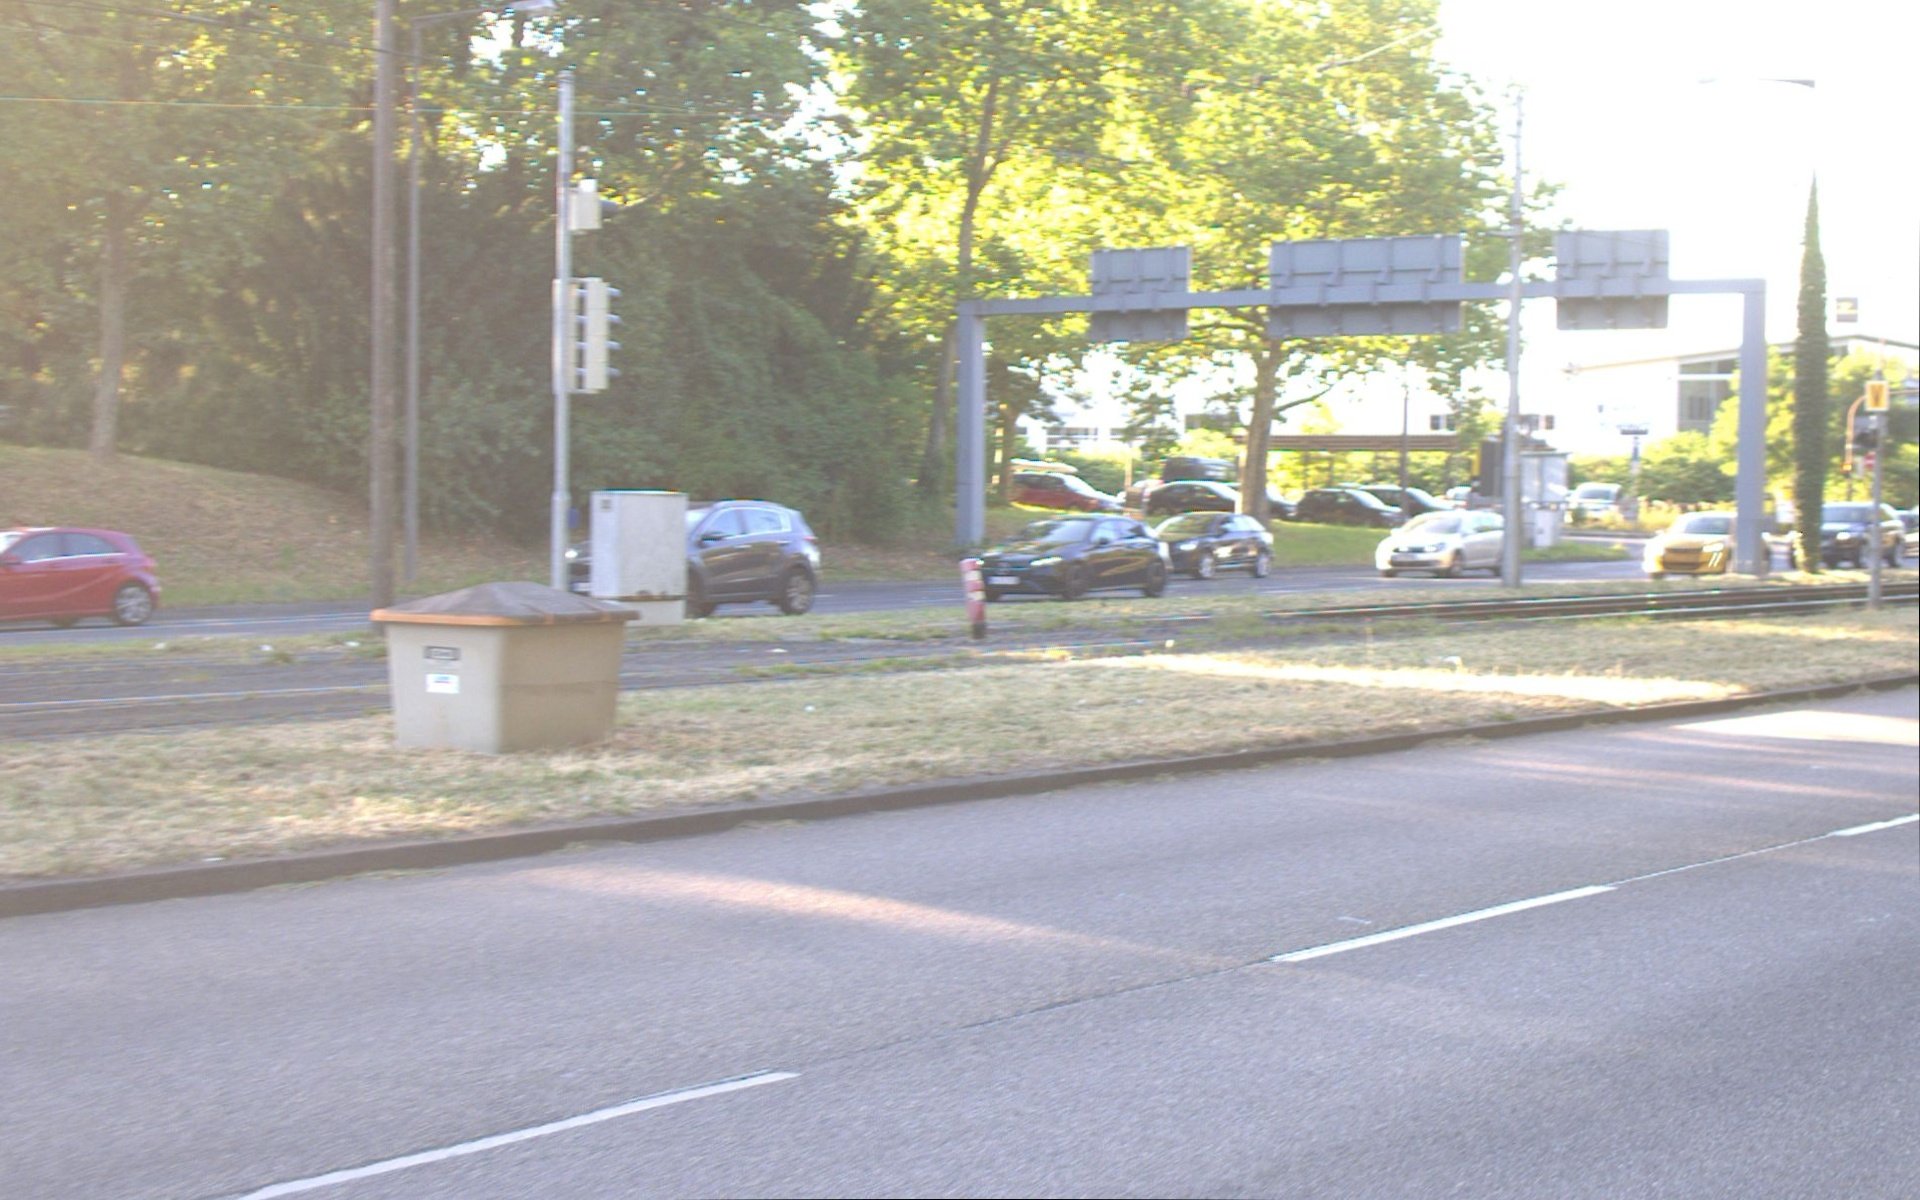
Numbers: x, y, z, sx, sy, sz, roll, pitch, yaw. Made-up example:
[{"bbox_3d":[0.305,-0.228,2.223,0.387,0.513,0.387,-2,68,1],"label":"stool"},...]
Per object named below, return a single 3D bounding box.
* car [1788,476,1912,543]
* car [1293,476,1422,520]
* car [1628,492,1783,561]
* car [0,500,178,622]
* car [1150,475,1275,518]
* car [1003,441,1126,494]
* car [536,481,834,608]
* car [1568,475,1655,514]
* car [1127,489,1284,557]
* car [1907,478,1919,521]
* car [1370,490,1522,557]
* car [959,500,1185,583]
[{"bbox_3d":[23.275,-2.375,89.839,1.842,1.649,4.428,3,3,32],"label":"car"},{"bbox_3d":[13.735,-3.539,118.758,4.064,1.382,1.780,4,3,39],"label":"car"},{"bbox_3d":[15.870,-1.557,73.031,1.842,1.411,4.011,2,2,34],"label":"car"},{"bbox_3d":[-13.122,-0.563,47.515,1.794,1.645,4.348,2,2,38],"label":"car"},{"bbox_3d":[8.950,-3.665,121.954,4.063,1.382,1.781,3,3,34],"label":"car"},{"bbox_3d":[3.789,-4.816,125.046,3.995,1.853,1.996,3,3,36],"label":"car"},{"bbox_3d":[-3.765,-0.780,47.692,1.794,1.645,4.349,2,2,34],"label":"car"},{"bbox_3d":[25.540,-4.136,134.676,1.845,1.437,3.992,3,3,35],"label":"car"},{"bbox_3d":[5.449,-1.693,75.838,1.689,1.411,4.185,3,2,31],"label":"car"},{"bbox_3d":[35.217,-3.534,121.967,1.842,1.476,4.592,3,3,32],"label":"car"},{"bbox_3d":[11.014,-1.725,77.681,1.689,1.411,4.430,3,2,32],"label":"car"},{"bbox_3d":[1.900,-0.976,57.122,1.690,1.305,4.301,2,2,34],"label":"car"}]
